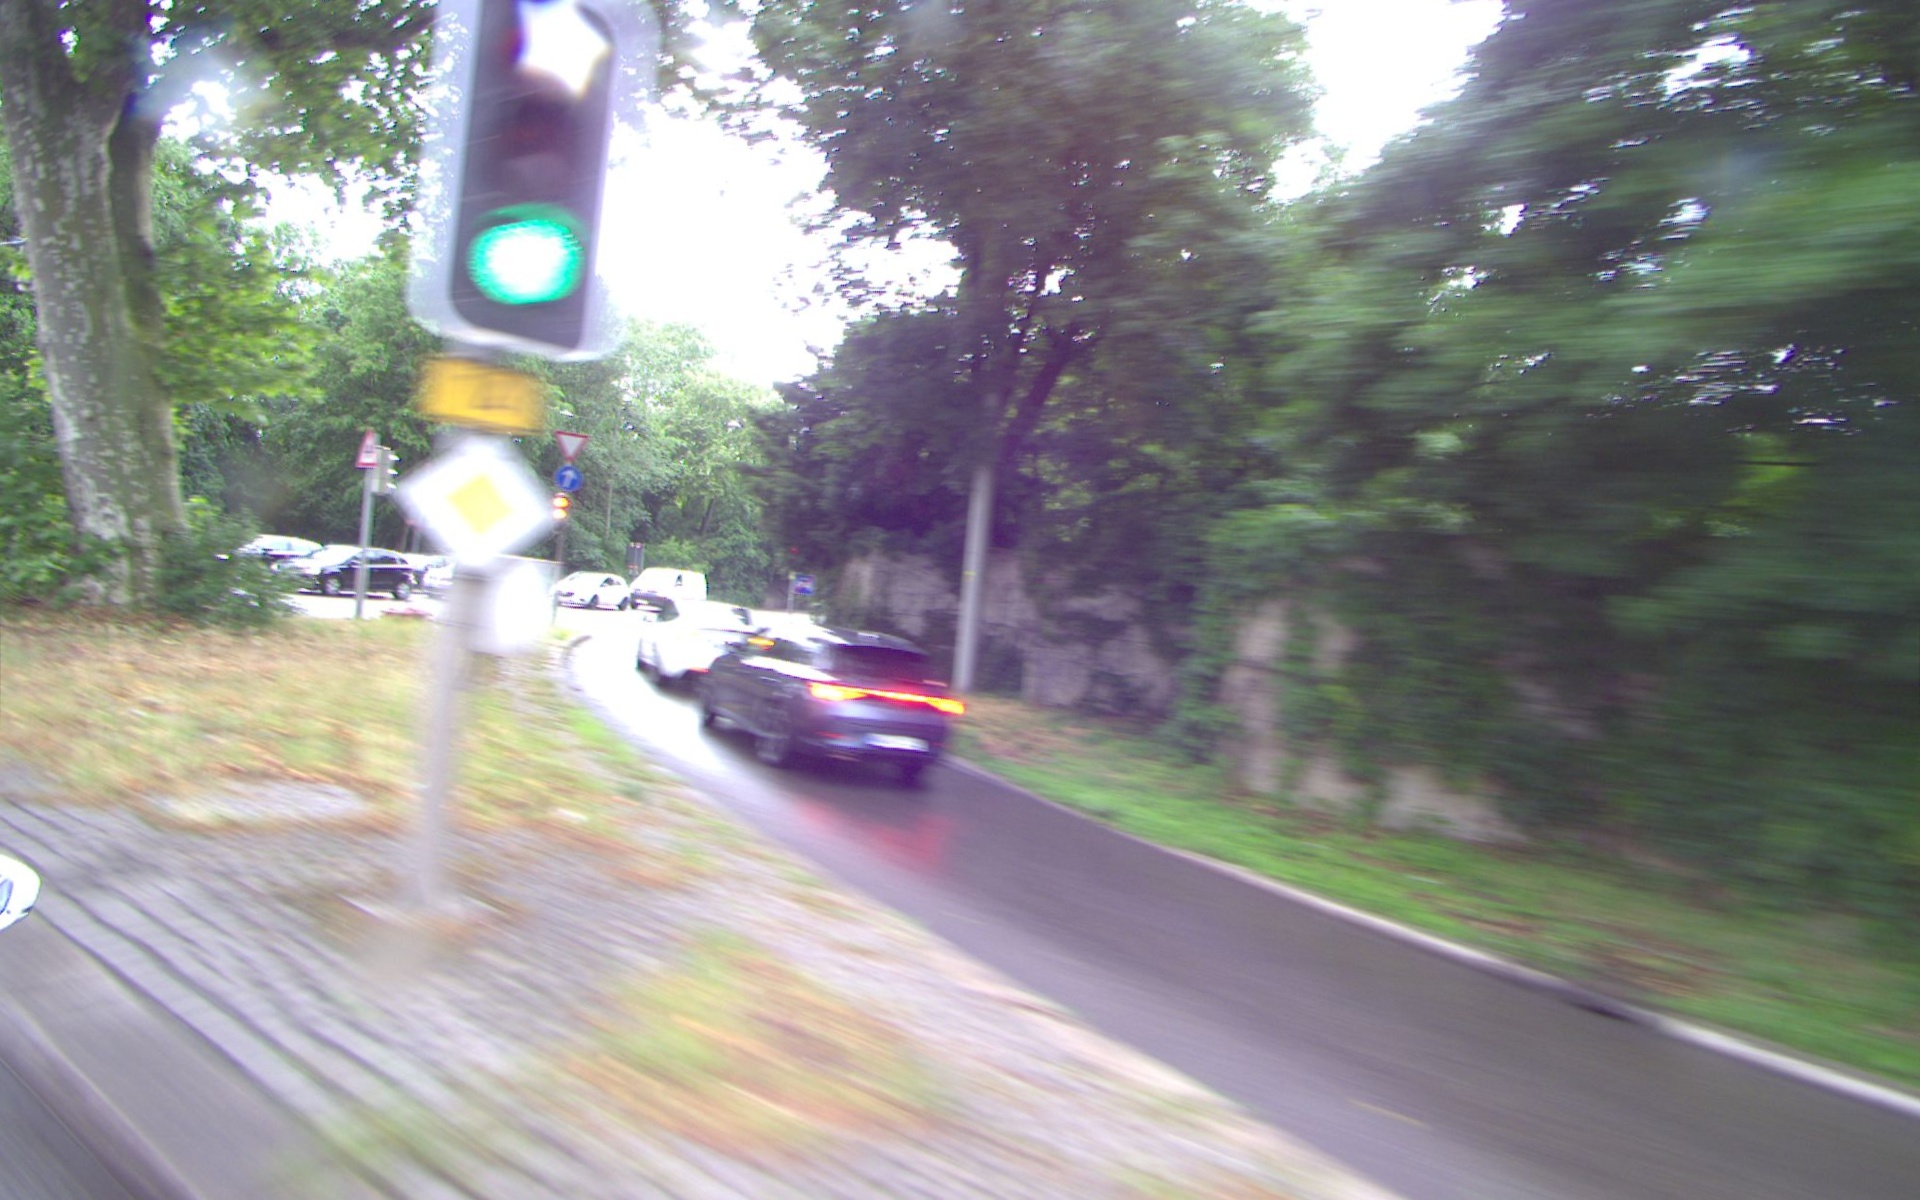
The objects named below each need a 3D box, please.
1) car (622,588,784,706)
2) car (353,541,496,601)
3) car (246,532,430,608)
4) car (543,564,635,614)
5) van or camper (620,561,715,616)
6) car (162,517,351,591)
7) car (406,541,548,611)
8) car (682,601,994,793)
[{"bbox_3d":[-4.620,0.721,17.545,1.837,1.463,4.594,12,-3,-23],"label":"car"},{"bbox_3d":[-18.977,-0.979,35.891,1.795,1.418,4.454,7,-3,15],"label":"car"},{"bbox_3d":[-17.376,-0.778,28.360,1.759,1.476,4.207,7,-3,15],"label":"car"},{"bbox_3d":[-14.855,-0.400,40.485,1.626,1.477,3.871,7,-3,9],"label":"car"},{"bbox_3d":[-13.451,-0.458,46.601,1.871,1.969,4.871,7,-2,14],"label":"van or camper"},{"bbox_3d":[-20.737,-1.295,29.891,1.913,1.456,4.220,7,-3,15],"label":"car"},{"bbox_3d":[-16.213,-0.742,34.044,1.871,1.698,4.218,7,-3,15],"label":"car"},{"bbox_3d":[-1.569,0.918,11.047,1.736,1.418,4.383,11,-3,-28],"label":"car"}]
